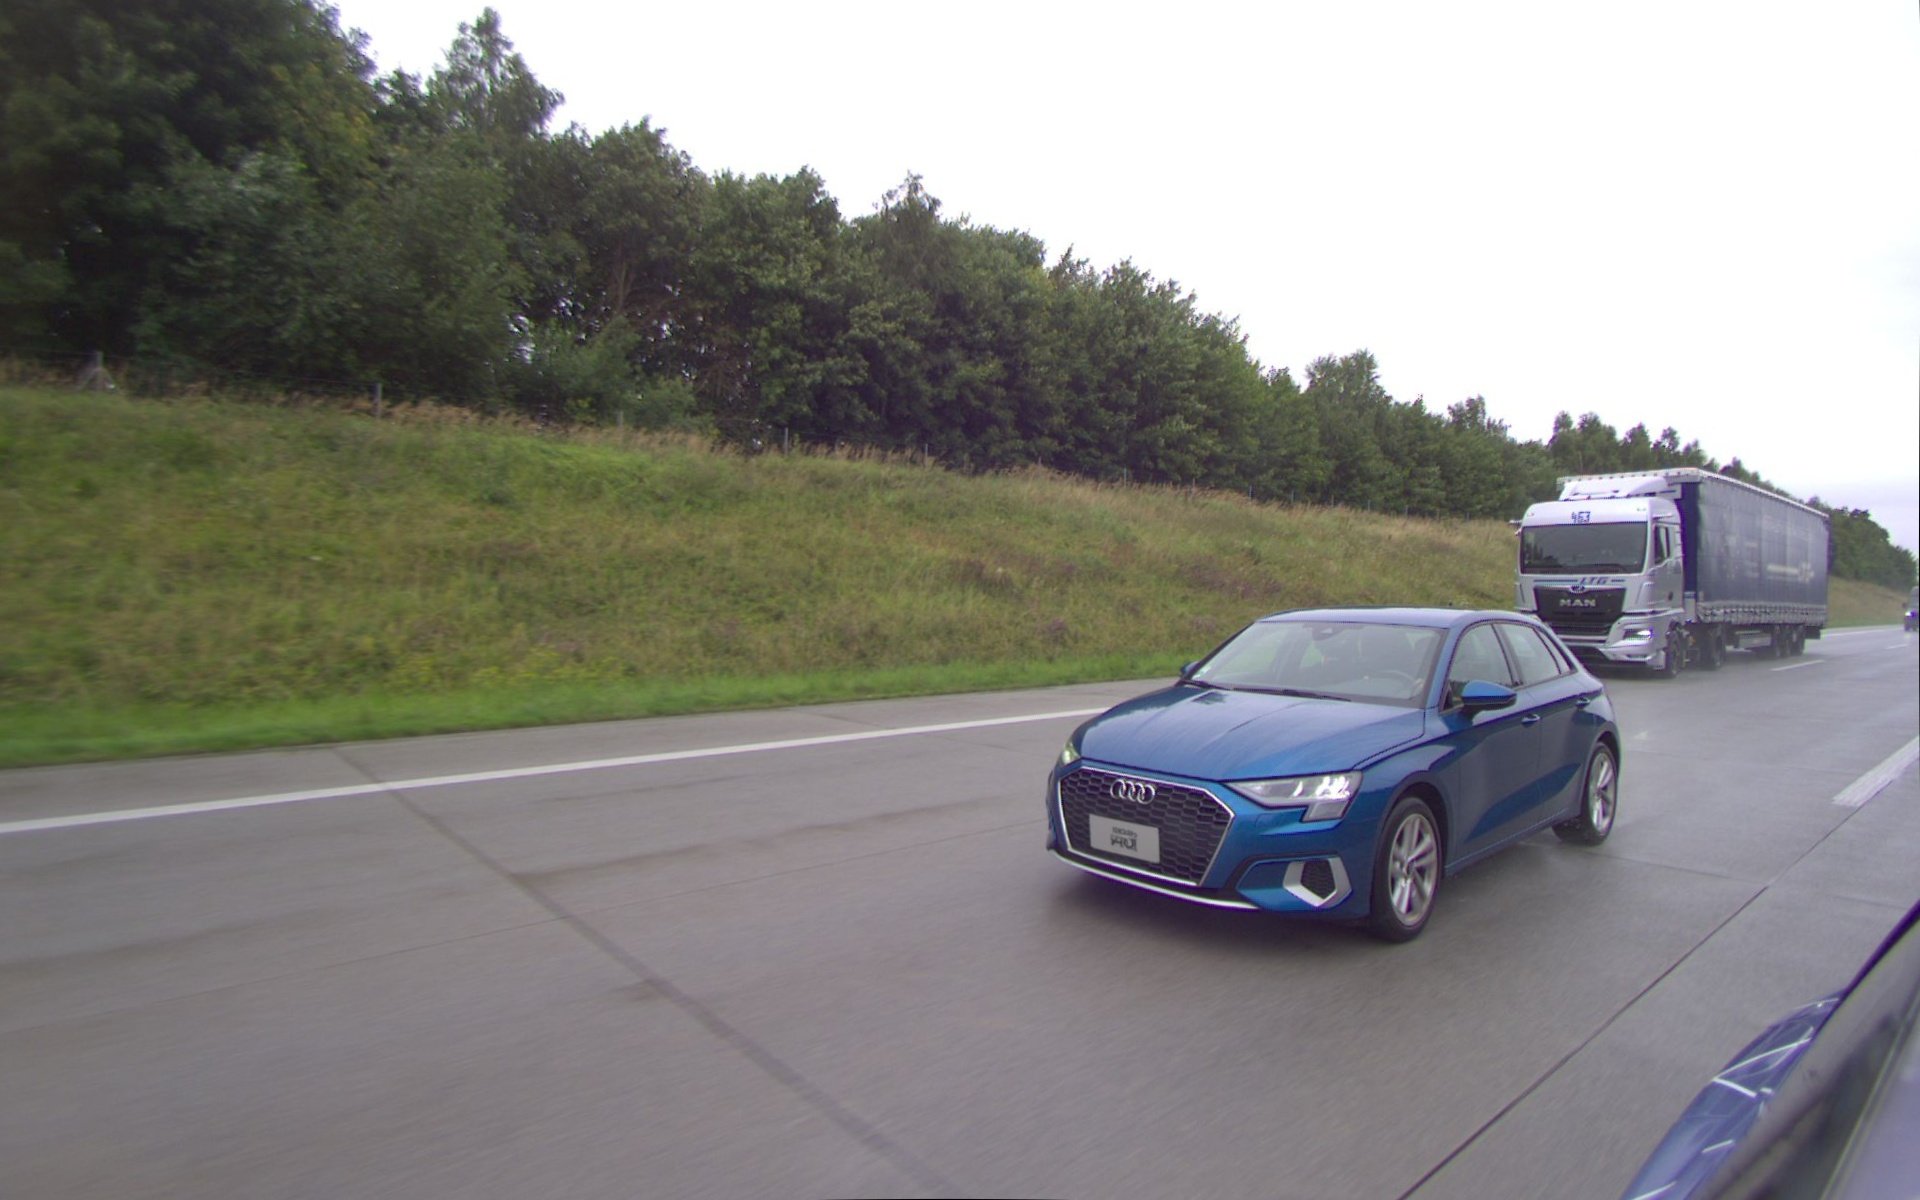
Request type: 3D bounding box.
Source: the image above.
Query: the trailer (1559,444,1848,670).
[{"bbox_3d":[19.520,-0.814,25.824,14.938,4.435,2.711,0,-1,-41],"label":"trailer"}]

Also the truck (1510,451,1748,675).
[{"bbox_3d":[13.929,-0.649,20.937,5.585,4.004,2.641,1,-1,-40],"label":"truck"}]

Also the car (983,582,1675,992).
[{"bbox_3d":[2.413,0.650,5.844,4.590,1.477,1.733,-1,2,-41],"label":"car"}]
